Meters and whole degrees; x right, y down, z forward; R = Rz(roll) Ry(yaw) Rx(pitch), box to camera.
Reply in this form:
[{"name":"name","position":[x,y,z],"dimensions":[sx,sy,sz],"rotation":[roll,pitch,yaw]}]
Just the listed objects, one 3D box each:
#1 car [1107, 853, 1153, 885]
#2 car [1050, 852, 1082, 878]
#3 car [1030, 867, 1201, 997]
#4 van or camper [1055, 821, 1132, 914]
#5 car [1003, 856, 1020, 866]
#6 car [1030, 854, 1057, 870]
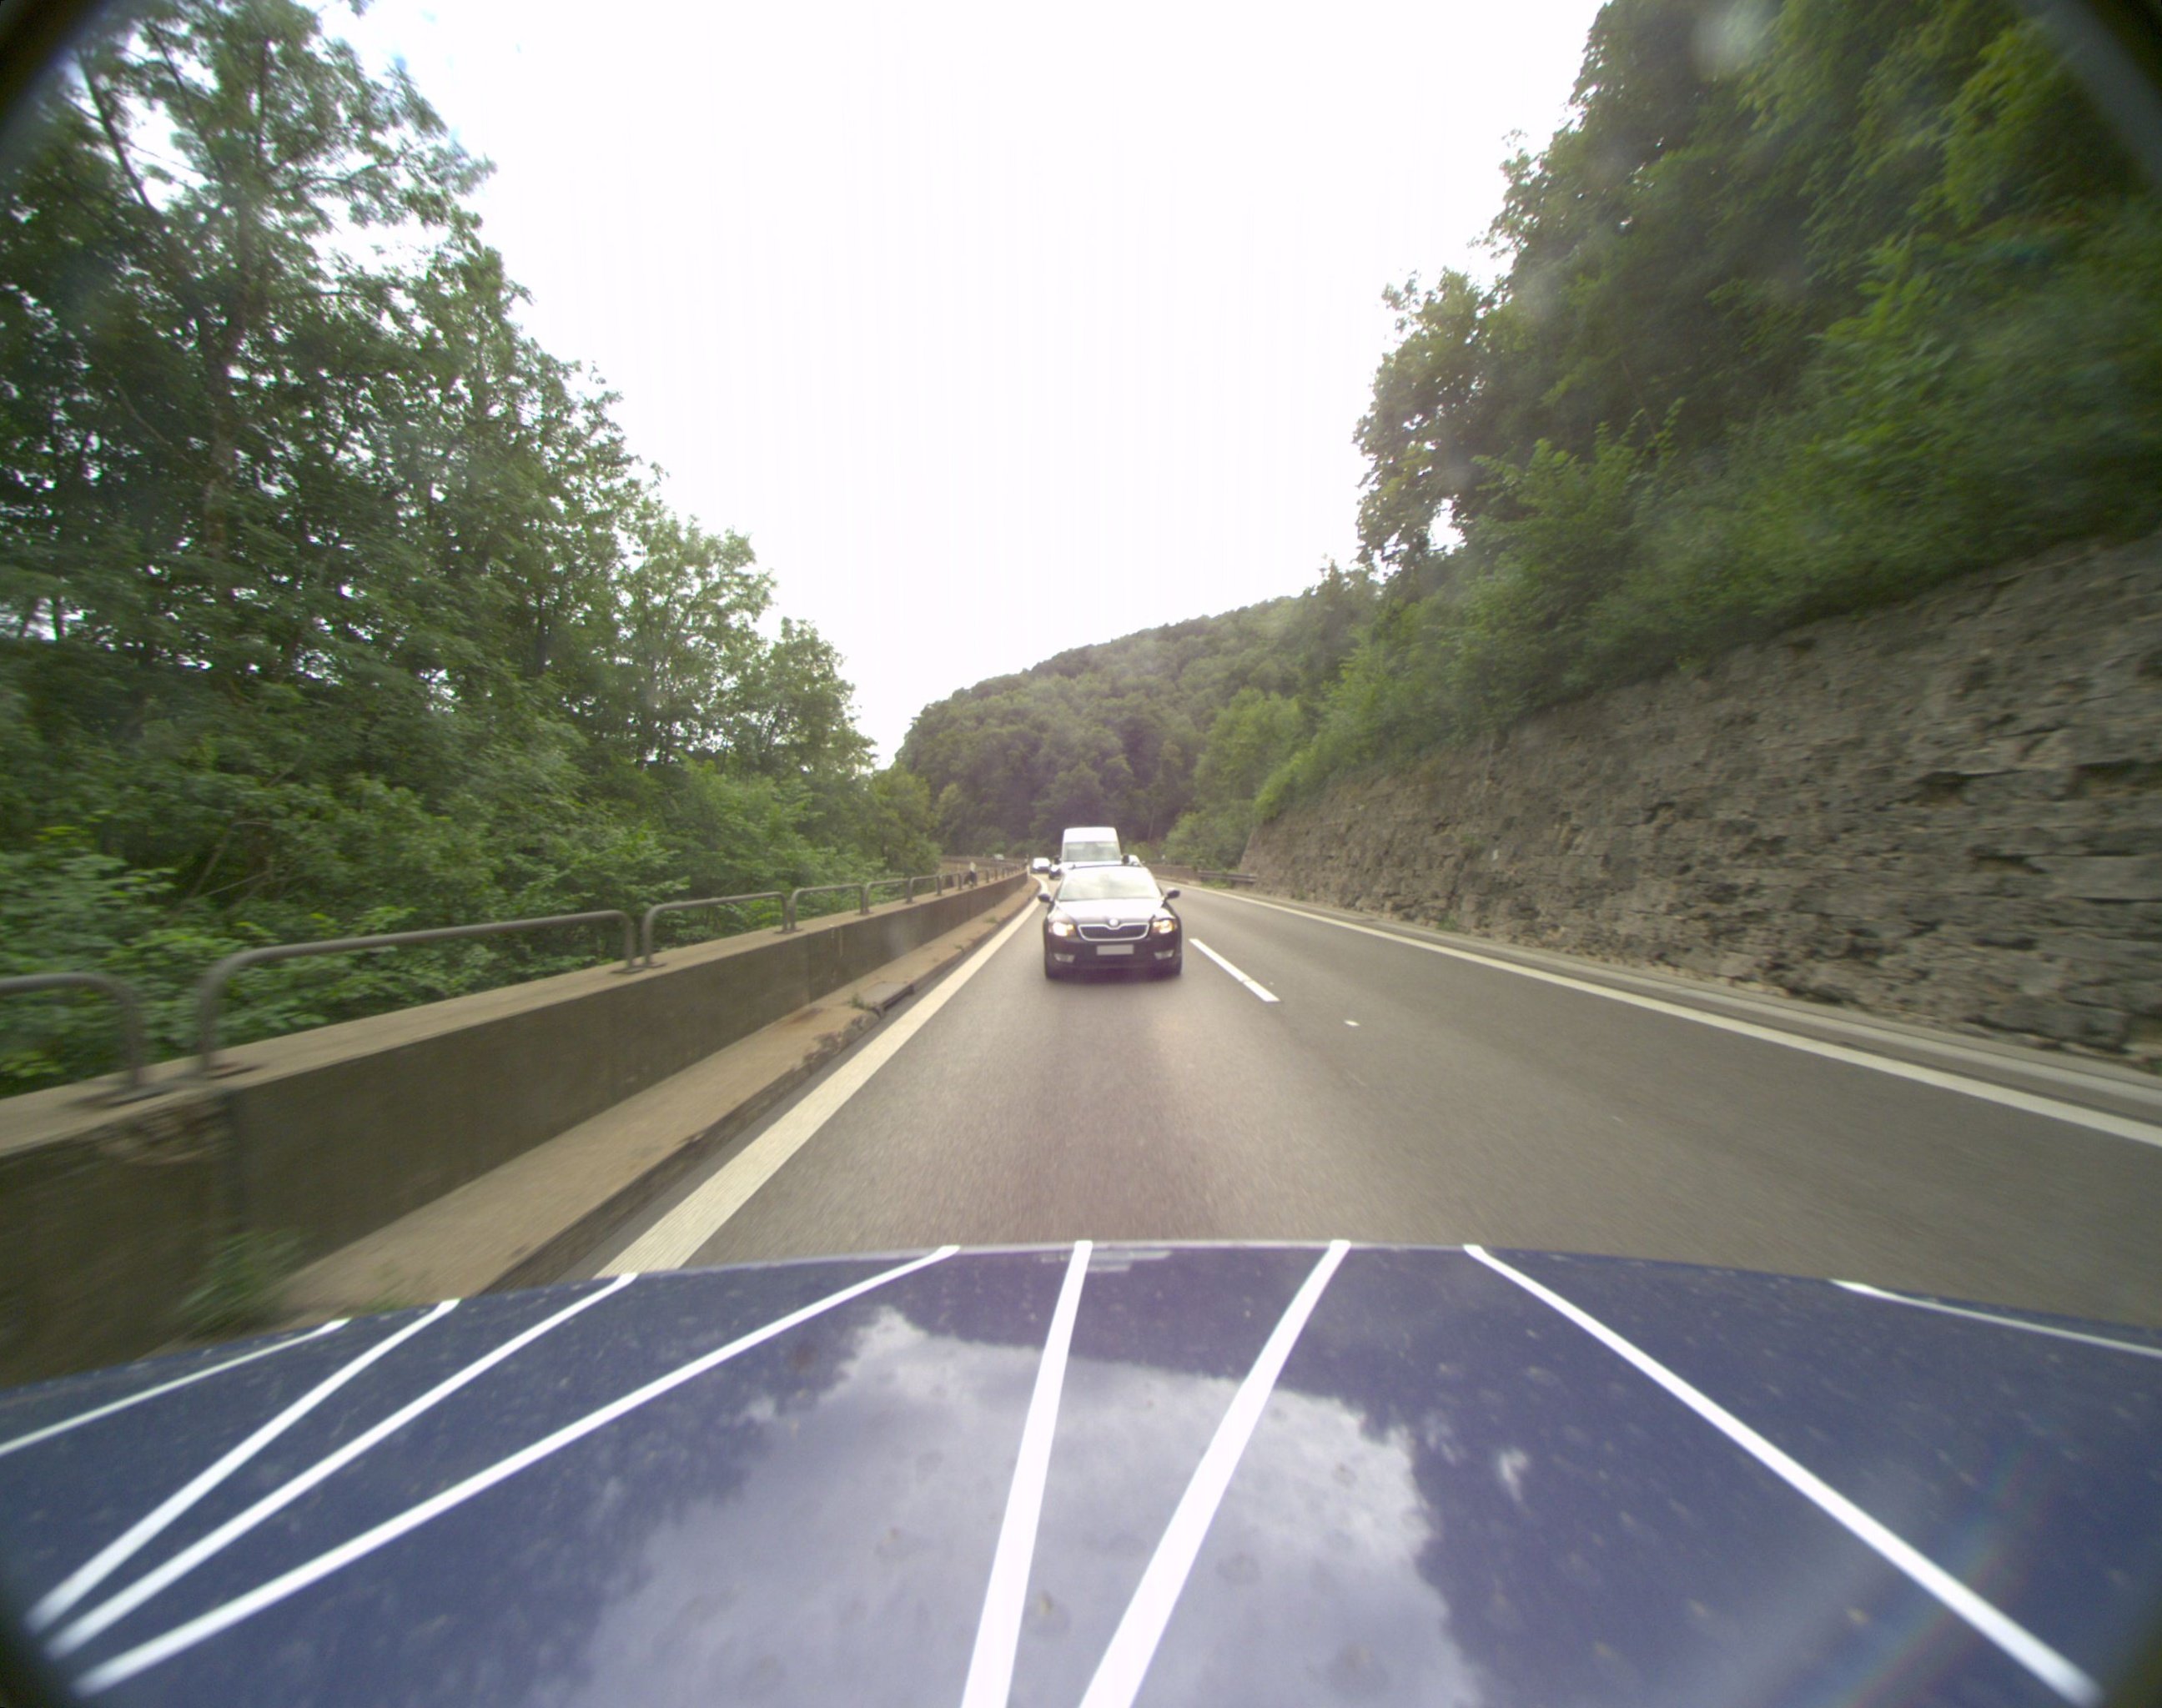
[{"name":"car","position":[2.737,0.812,43.453],"dimensions":[1.999,1.622,5.006],"rotation":[-3,0,-3]},{"name":"car","position":[-1.131,0.748,53.845],"dimensions":[1.965,1.696,3.997],"rotation":[-2,1,-5]},{"name":"car","position":[0.463,0.965,11.444],"dimensions":[1.998,1.389,5.008],"rotation":[-1,0,1]},{"name":"van or camper","position":[0.347,0.375,24.377],"dimensions":[2.081,2.575,5.911],"rotation":[-2,0,0]},{"name":"car","position":[-10.254,1.042,111.918],"dimensions":[1.890,1.312,3.994],"rotation":[-2,1,-15]},{"name":"car","position":[-3.506,0.743,70.600],"dimensions":[1.889,1.312,3.995],"rotation":[-2,1,-11]}]
